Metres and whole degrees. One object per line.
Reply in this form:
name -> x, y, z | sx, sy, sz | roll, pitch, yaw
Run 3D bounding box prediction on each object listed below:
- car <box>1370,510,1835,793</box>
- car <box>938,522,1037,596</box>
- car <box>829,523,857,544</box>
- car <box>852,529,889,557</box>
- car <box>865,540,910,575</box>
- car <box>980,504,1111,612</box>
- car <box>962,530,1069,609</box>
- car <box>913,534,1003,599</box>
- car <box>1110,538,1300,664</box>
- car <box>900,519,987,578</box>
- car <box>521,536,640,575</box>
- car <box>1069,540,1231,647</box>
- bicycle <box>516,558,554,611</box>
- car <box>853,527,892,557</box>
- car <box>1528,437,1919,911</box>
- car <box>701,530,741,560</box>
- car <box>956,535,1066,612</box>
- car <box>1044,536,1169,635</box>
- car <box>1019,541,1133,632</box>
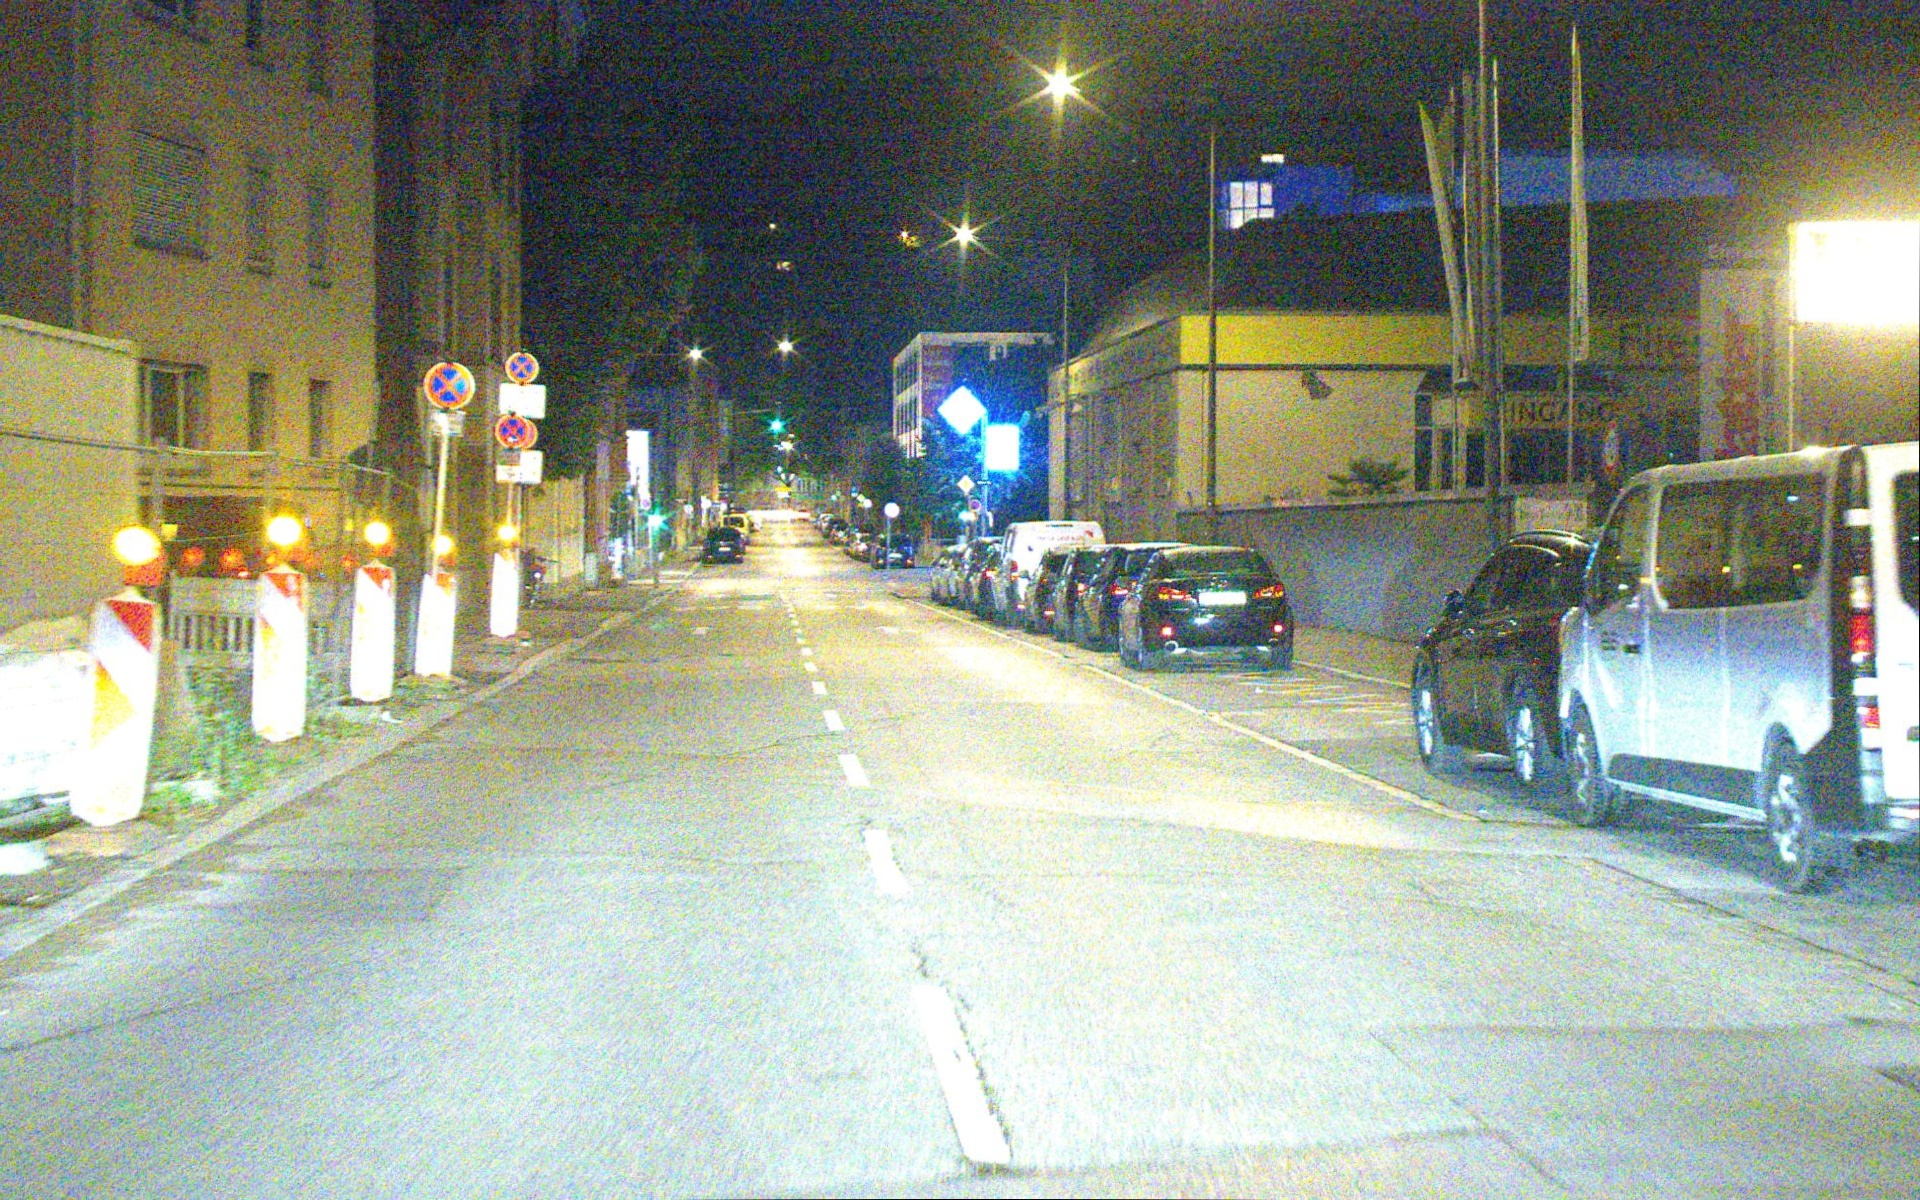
car -> 4.033, 0.276, 22.307 | 1.819, 1.593, 4.221 | -2, 1, -5
car -> 0.597, -0.959, 78.638 | 1.823, 1.617, 4.459 | -1, 1, -5
car -> -8.630, -4.929, 253.826 | 1.993, 1.515, 4.000 | 1, 1, -2
car -> -4.907, -3.122, 188.547 | 1.993, 1.515, 4.000 | 1, 1, -2
car -> -3.346, -1.975, 158.223 | 1.993, 1.511, 4.001 | 1, 1, -2
car -> 1.537, -0.799, 63.496 | 1.800, 1.868, 4.775 | -2, 1, -5
car -> 1.145, -0.668, 73.161 | 1.823, 1.583, 4.629 | -1, 1, -4
car -> -0.069, -0.826, 84.384 | 1.774, 1.539, 4.547 | 1, 1, -5
car -> 2.880, -0.012, 41.275 | 1.778, 1.422, 4.481 | 1, 1, -2
car -> -0.454, -1.353, 90.487 | 1.859, 1.484, 4.547 | 1, 1, -5
car -> -14.675, -1.714, 133.084 | 4.438, 1.444, 2.000 | 1, 1, -3
car -> 2.611, -0.104, 48.073 | 1.778, 1.422, 3.892 | 1, 1, -4
bicycle -> -8.648, -0.322, 70.049 | 0.619, 1.048, 1.722 | 1, 1, -2
car -> -4.630, -3.075, 182.059 | 1.993, 1.515, 4.000 | 1, 1, -2
car -> 4.414, 0.253, 16.718 | 2.072, 1.922, 5.371 | -1, 1, -3
car -> -12.220, -2.817, 176.066 | 1.993, 1.497, 4.001 | 1, 1, -3
car -> 0.983, -0.550, 68.242 | 1.816, 1.422, 4.189 | -1, 1, -4
car -> 2.238, -0.235, 53.127 | 1.595, 1.462, 3.719 | 1, 1, -3
car -> 1.915, -0.247, 57.764 | 1.595, 1.462, 3.892 | 1, 1, -3
